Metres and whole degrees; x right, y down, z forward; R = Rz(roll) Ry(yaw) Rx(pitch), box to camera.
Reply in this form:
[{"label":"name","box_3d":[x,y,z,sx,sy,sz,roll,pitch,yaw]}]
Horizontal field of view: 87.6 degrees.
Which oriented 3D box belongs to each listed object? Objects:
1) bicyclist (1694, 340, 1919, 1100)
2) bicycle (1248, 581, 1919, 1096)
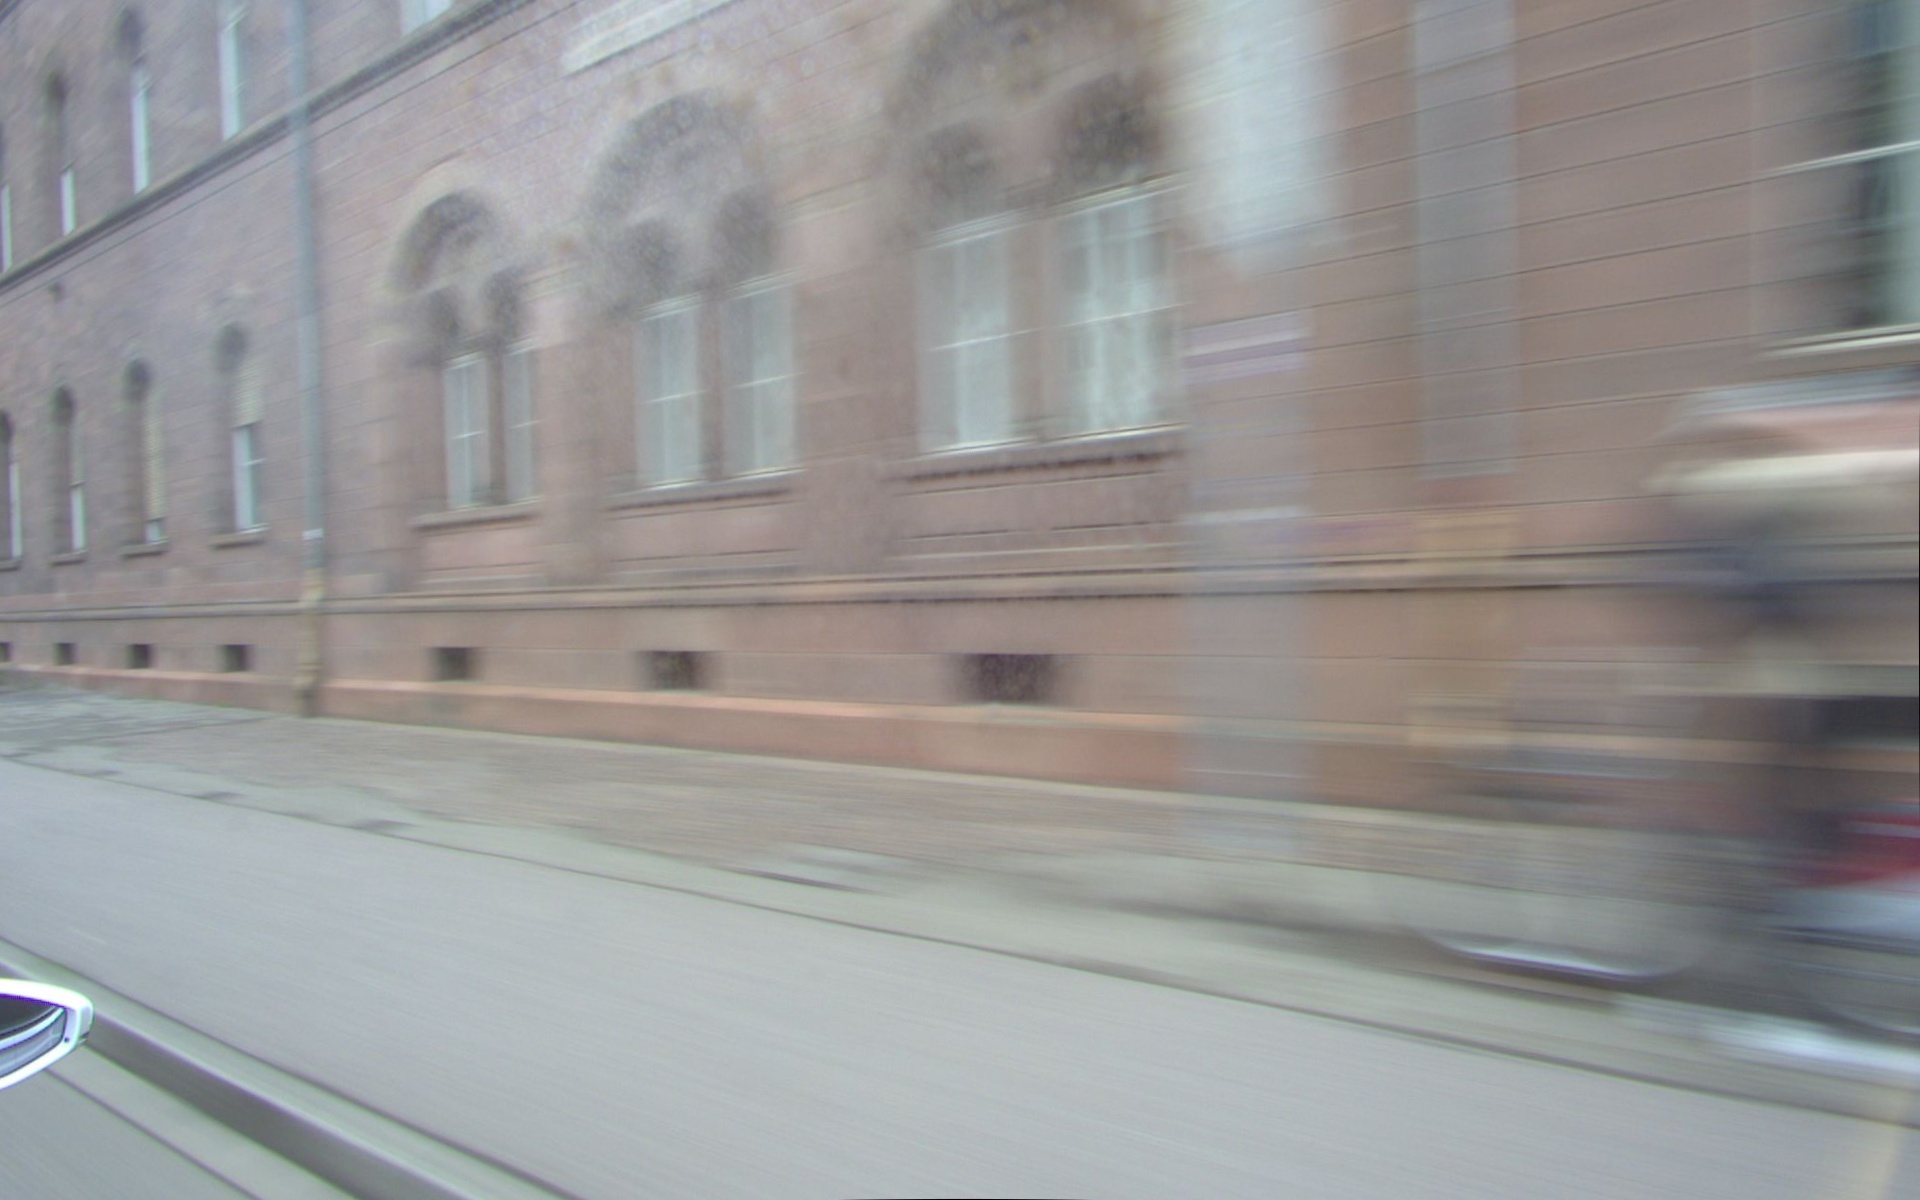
[{"label":"bicyclist","box_3d":[2.358,0.304,2.790,0.444,1.883,0.527,-1,2,31]},{"label":"bicycle","box_3d":[2.037,0.615,3.006,2.195,1.294,0.444,-1,2,32]}]
